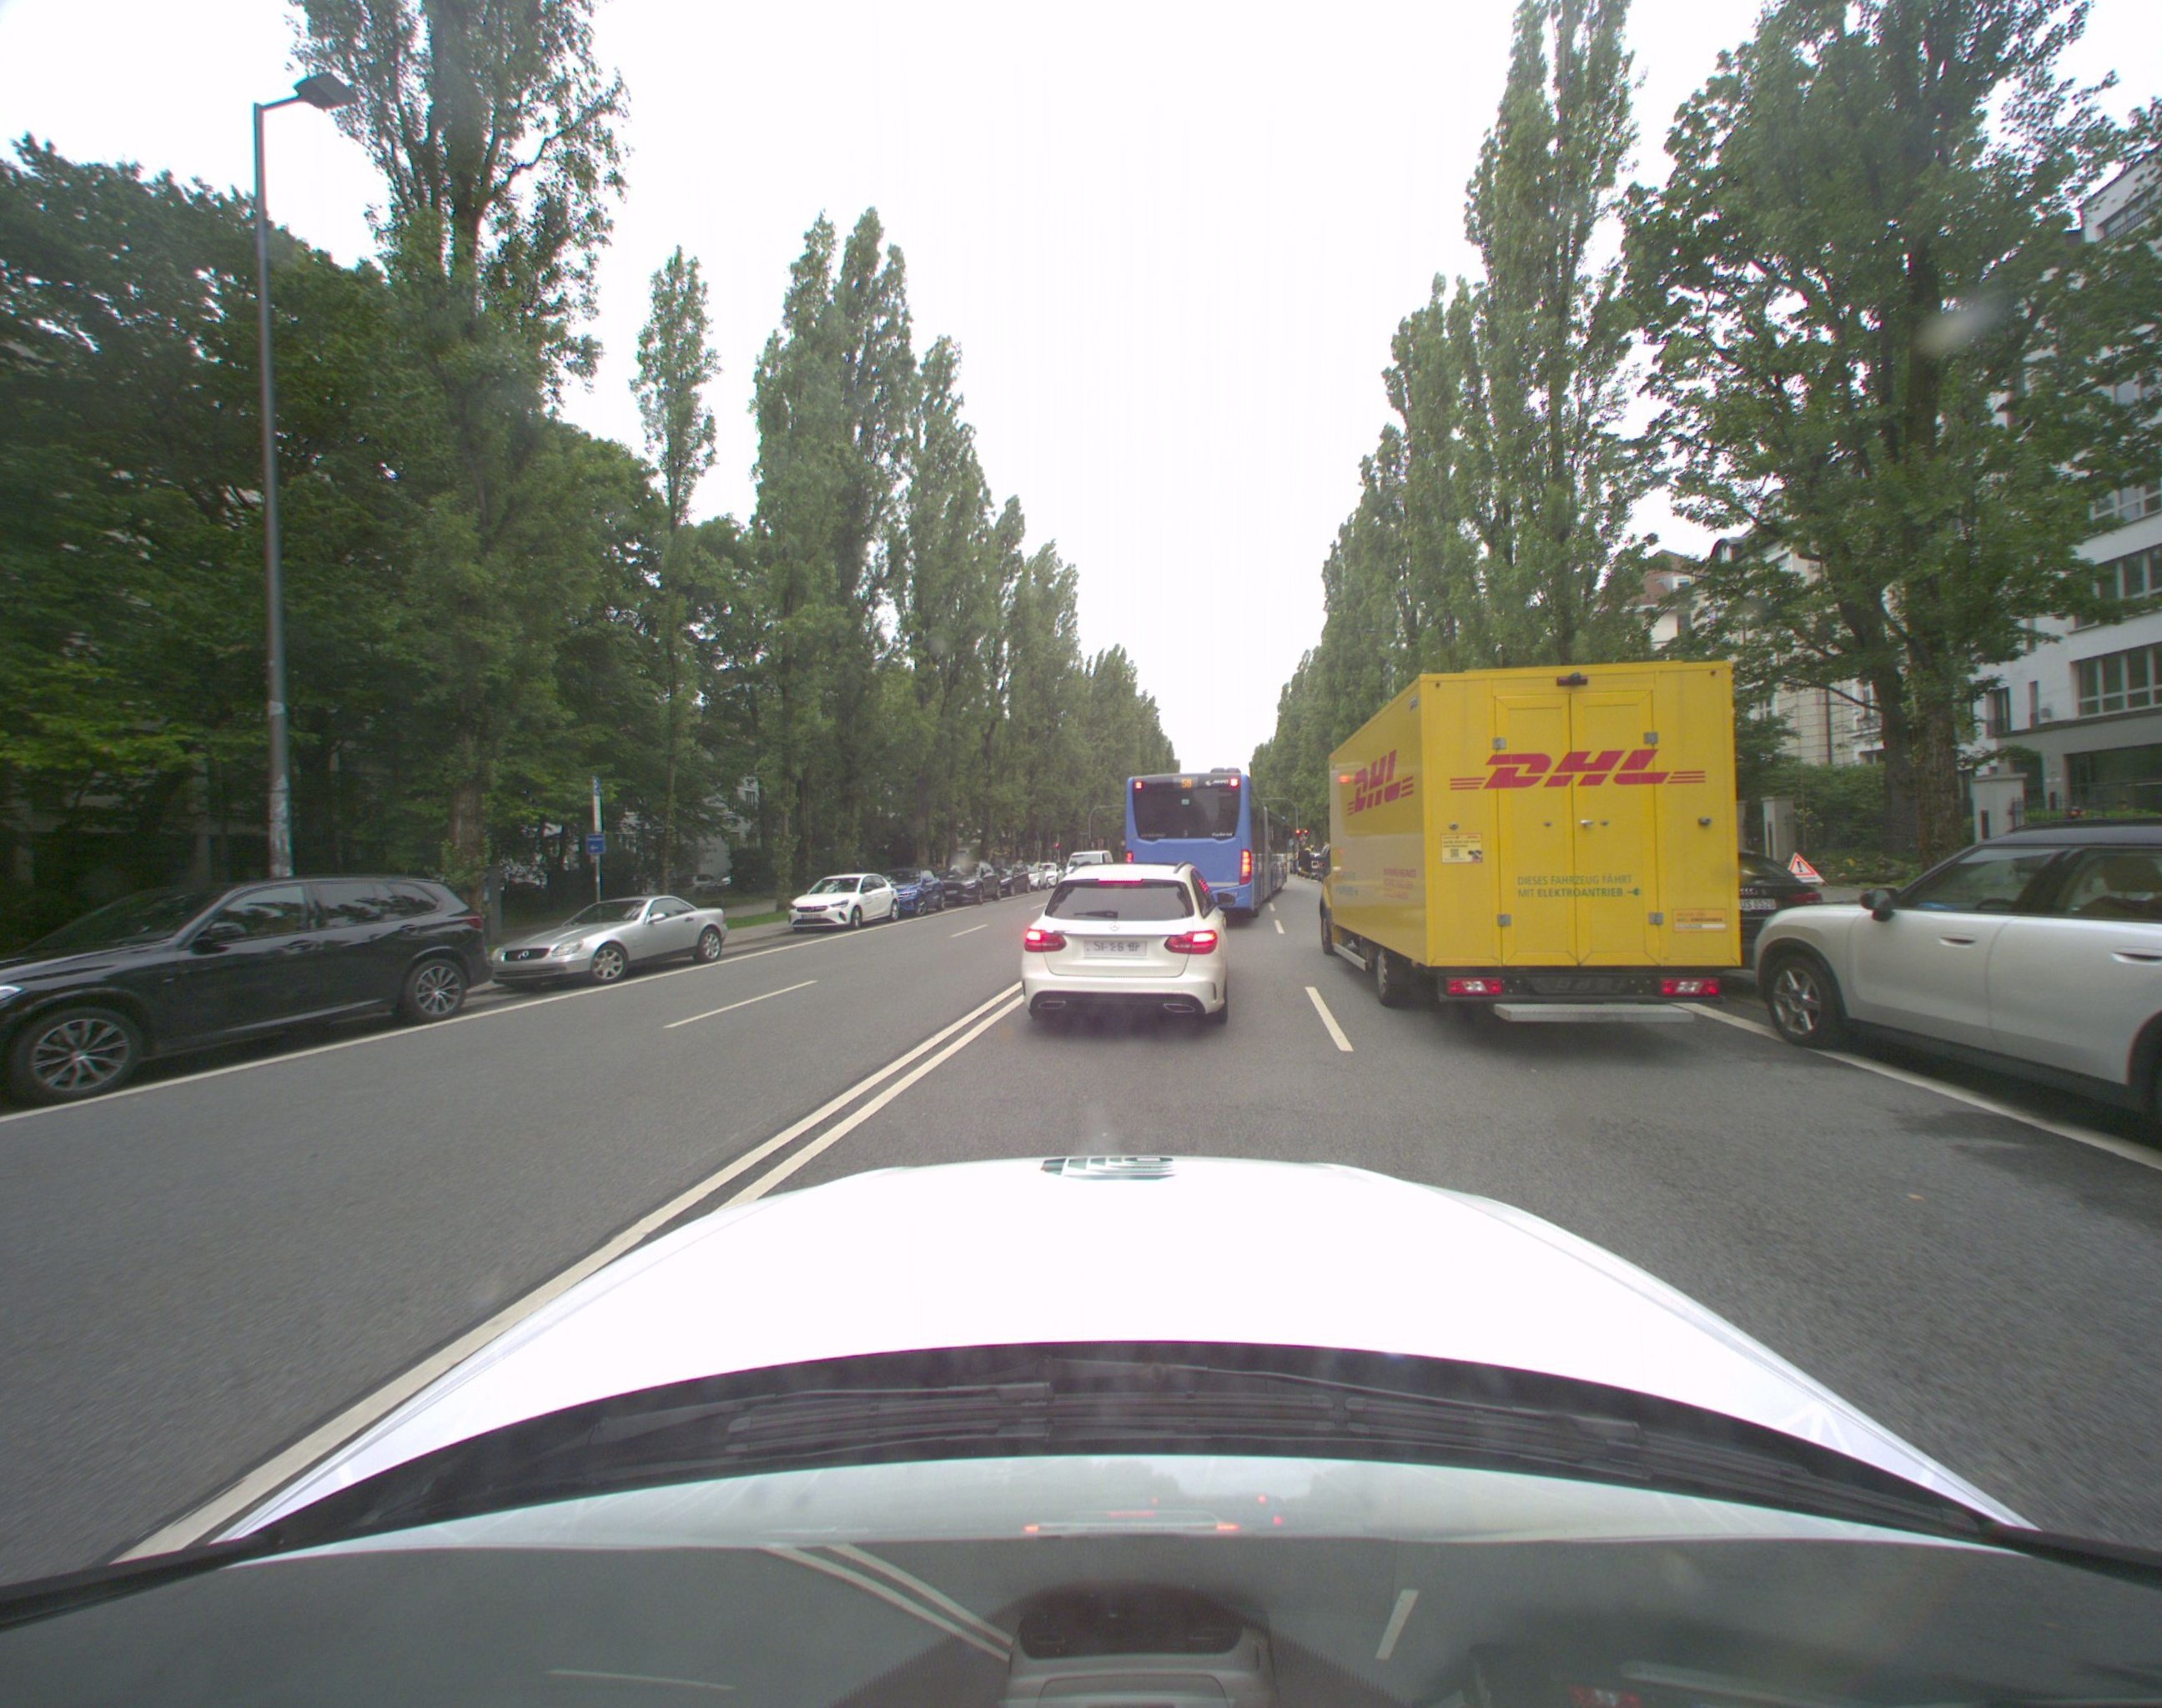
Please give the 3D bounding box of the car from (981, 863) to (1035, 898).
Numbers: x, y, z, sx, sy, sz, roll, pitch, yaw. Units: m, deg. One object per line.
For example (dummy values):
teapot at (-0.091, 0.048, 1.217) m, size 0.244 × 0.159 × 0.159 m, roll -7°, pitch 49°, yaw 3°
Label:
car at (-3.383, 1.207, 38.334) m, size 1.530 × 1.433 × 3.879 m, roll -5°, pitch -1°, yaw 9°

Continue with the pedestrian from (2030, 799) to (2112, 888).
pedestrian at (21.337, -0.217, 17.576) m, size 0.927 × 1.866 × 0.778 m, roll -3°, pitch 0°, yaw 39°

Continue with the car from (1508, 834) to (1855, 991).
car at (6.929, 0.576, 10.061) m, size 1.714 × 1.495 × 4.337 m, roll -2°, pitch 0°, yaw 11°

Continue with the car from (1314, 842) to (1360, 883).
car at (12.196, 0.377, 39.048) m, size 1.692 × 1.836 × 4.013 m, roll -1°, pitch 0°, yaw 11°

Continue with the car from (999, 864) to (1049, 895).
car at (-2.892, 1.298, 42.428) m, size 1.665 × 1.413 × 4.010 m, roll -3°, pitch 0°, yaw 9°

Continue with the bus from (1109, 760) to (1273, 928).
bus at (3.150, -0.199, 20.308) m, size 2.834 × 3.213 × 9.096 m, roll -2°, pitch 0°, yaw 15°

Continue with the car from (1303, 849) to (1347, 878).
car at (13.481, 0.503, 45.211) m, size 1.788 × 1.475 × 4.010 m, roll -2°, pitch 0°, yaw 9°

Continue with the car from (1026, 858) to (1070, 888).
car at (-1.830, 1.069, 46.841) m, size 1.698 × 1.548 × 4.010 m, roll -3°, pitch 0°, yaw 9°

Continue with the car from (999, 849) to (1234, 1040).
car at (0.666, 0.705, 8.617) m, size 1.814 × 1.454 × 4.596 m, roll -1°, pitch 0°, yaw 10°

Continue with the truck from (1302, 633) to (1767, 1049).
truck at (4.188, -0.066, 9.469) m, size 2.313 × 2.898 × 7.352 m, roll -2°, pitch 0°, yaw 9°

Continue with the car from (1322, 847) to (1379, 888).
car at (11.077, 0.514, 33.725) m, size 1.667 × 1.596 × 4.099 m, roll 0°, pitch 0°, yaw 10°

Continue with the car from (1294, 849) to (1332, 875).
car at (14.284, 0.479, 50.306) m, size 1.775 × 1.492 × 4.010 m, roll -2°, pitch 0°, yaw 9°

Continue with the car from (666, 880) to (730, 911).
car at (-24.930, 2.667, 53.202) m, size 1.986 × 1.684 × 4.269 m, roll -3°, pitch 0°, yaw 2°

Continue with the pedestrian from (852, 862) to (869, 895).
pedestrian at (-12.053, 1.349, 44.554) m, size 0.596 × 1.739 × 0.642 m, roll -2°, pitch 0°, yaw 10°

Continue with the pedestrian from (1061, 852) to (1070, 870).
pedestrian at (-1.700, 0.759, 90.499) m, size 0.825 × 2.013 × 0.779 m, roll -2°, pitch 0°, yaw 8°

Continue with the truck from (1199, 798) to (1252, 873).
truck at (8.558, -1.023, 49.085) m, size 2.701 × 3.965 × 9.238 m, roll -2°, pitch 0°, yaw 8°

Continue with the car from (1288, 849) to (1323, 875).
car at (15.228, 0.524, 55.397) m, size 1.798 × 1.618 × 4.010 m, roll -2°, pitch 0°, yaw 9°

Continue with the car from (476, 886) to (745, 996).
car at (-7.569, 1.333, 13.627) m, size 1.570 × 1.304 × 4.041 m, roll -4°, pitch 0°, yaw 11°

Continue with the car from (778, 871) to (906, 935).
car at (-6.356, 1.253, 22.167) m, size 1.675 × 1.413 × 4.015 m, roll -4°, pitch -1°, yaw 9°

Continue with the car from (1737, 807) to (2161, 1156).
car at (5.950, 0.576, 4.540) m, size 1.770 × 1.581 × 4.158 m, roll 0°, pitch 0°, yaw 9°

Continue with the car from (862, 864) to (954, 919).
car at (-5.534, 1.164, 26.632) m, size 1.735 × 1.519 × 4.123 m, roll -4°, pitch -1°, yaw 5°

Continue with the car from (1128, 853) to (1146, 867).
car at (6.814, 0.709, 98.852) m, size 1.810 × 1.486 × 4.011 m, roll -2°, pitch 0°, yaw 9°

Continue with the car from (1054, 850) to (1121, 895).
car at (0.427, 0.833, 39.906) m, size 2.169 × 1.891 × 5.713 m, roll -4°, pitch -1°, yaw 11°

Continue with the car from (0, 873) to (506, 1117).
car at (-8.595, 1.155, 8.057) m, size 1.869 × 1.658 × 4.730 m, roll -5°, pitch 0°, yaw 9°

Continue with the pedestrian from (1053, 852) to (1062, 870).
pedestrian at (-2.619, 0.784, 90.405) m, size 0.825 × 2.013 × 0.779 m, roll -2°, pitch 0°, yaw 8°

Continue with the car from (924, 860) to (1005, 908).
car at (-4.438, 1.104, 31.757) m, size 1.780 × 1.548 × 4.349 m, roll -5°, pitch -1°, yaw 9°

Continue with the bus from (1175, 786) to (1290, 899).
bus at (5.750, -0.353, 29.264) m, size 2.849 × 3.304 × 9.833 m, roll -2°, pitch 0°, yaw 17°
